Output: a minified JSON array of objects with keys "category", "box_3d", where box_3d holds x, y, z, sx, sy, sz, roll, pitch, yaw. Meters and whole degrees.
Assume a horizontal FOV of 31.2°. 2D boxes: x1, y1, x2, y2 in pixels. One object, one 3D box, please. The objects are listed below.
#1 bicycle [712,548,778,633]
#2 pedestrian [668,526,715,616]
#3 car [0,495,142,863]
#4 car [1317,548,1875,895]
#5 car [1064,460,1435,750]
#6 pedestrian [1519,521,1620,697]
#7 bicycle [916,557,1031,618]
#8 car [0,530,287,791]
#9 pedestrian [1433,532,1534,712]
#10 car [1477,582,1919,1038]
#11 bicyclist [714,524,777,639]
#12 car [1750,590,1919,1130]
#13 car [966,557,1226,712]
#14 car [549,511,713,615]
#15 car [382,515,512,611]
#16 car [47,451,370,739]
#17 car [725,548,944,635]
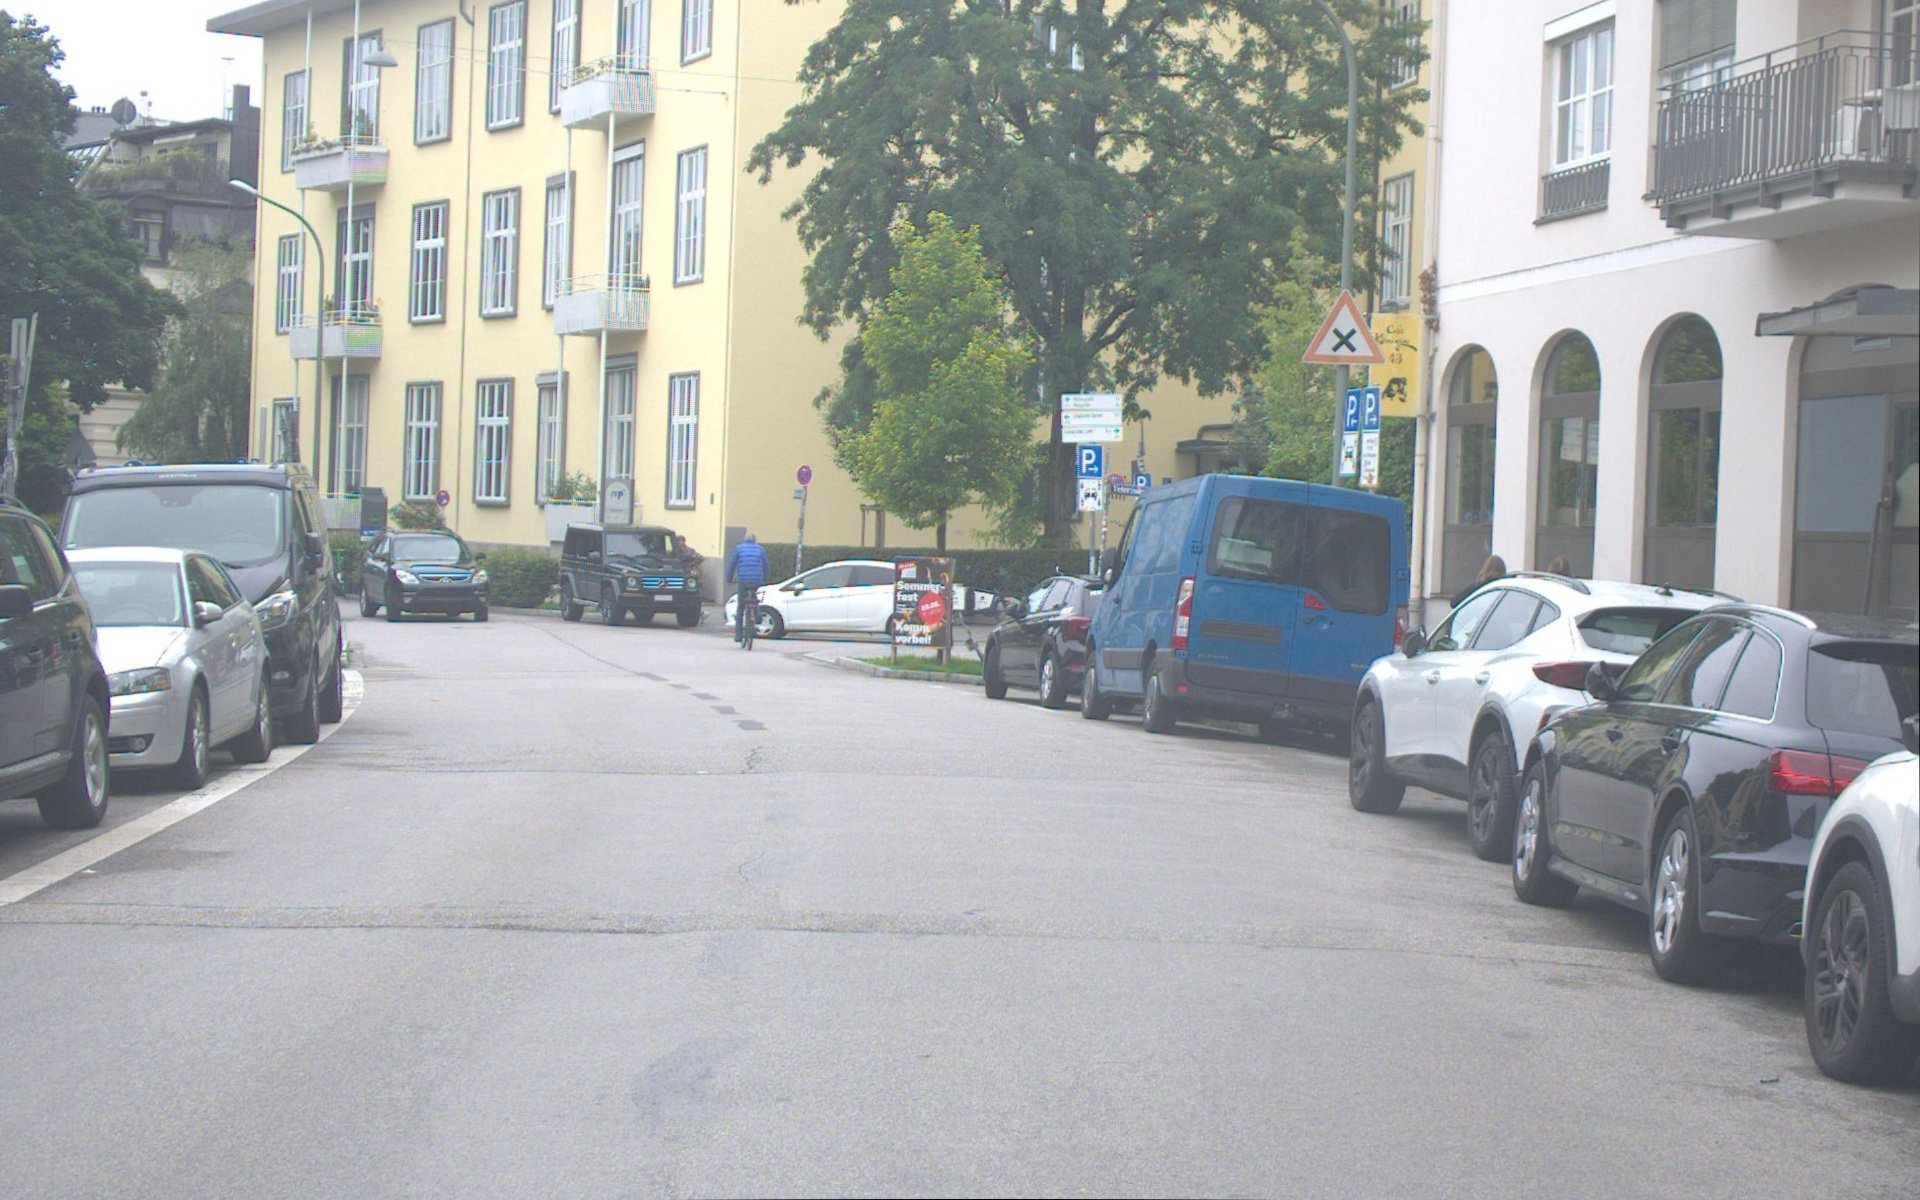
[{"category":"bicycle","box_3d":[-3.377,-0.164,54.238,0.921,1.248,2.322,2,1,-2]},{"category":"pedestrian","box_3d":[-5.306,-0.581,67.910,0.848,1.751,0.954,1,2,-8]},{"category":"car","box_3d":[-5.069,0.340,15.746,1.702,1.601,4.492,-1,2,-2]},{"category":"car","box_3d":[3.478,0.595,19.686,1.775,1.517,4.305,6,1,-7]},{"category":"car","box_3d":[2.500,0.064,31.186,2.109,2.206,5.029,6,-1,-7]},{"category":"pedestrian","box_3d":[5.597,0.074,31.610,0.711,1.599,0.700,0,1,-8]},{"category":"bicycle","box_3d":[0.269,-0.244,67.702,2.168,1.112,0.640,2,1,7]},{"category":"car","box_3d":[-5.273,0.308,20.983,1.706,1.361,4.002,-2,2,-3]},{"category":"pedestrian","box_3d":[4.808,0.200,31.610,0.678,1.623,0.830,1,0,-8]},{"category":"car","box_3d":[3.489,0.768,14.202,1.772,1.424,4.694,6,1,-1]},{"category":"bicyclist","box_3d":[-3.383,-0.302,54.235,0.914,1.758,1.215,2,1,-2]},{"category":"car","box_3d":[3.583,0.827,9.067,1.702,1.463,4.121,6,1,-3]},{"category":"car","box_3d":[1.408,0.333,37.161,1.714,1.390,4.001,5,0,-13]},{"category":"car","box_3d":[-6.527,-0.761,67.805,1.873,1.881,4.620,1,2,-23]},{"category":"car","box_3d":[-9.954,-0.746,66.464,1.993,1.713,4.617,1,2,-14]},{"category":"car","box_3d":[-5.623,-0.107,26.236,1.925,1.972,4.624,-1,2,-7]},{"category":"car","box_3d":[-2.221,-0.169,61.506,3.715,1.401,1.753,2,1,4]}]
